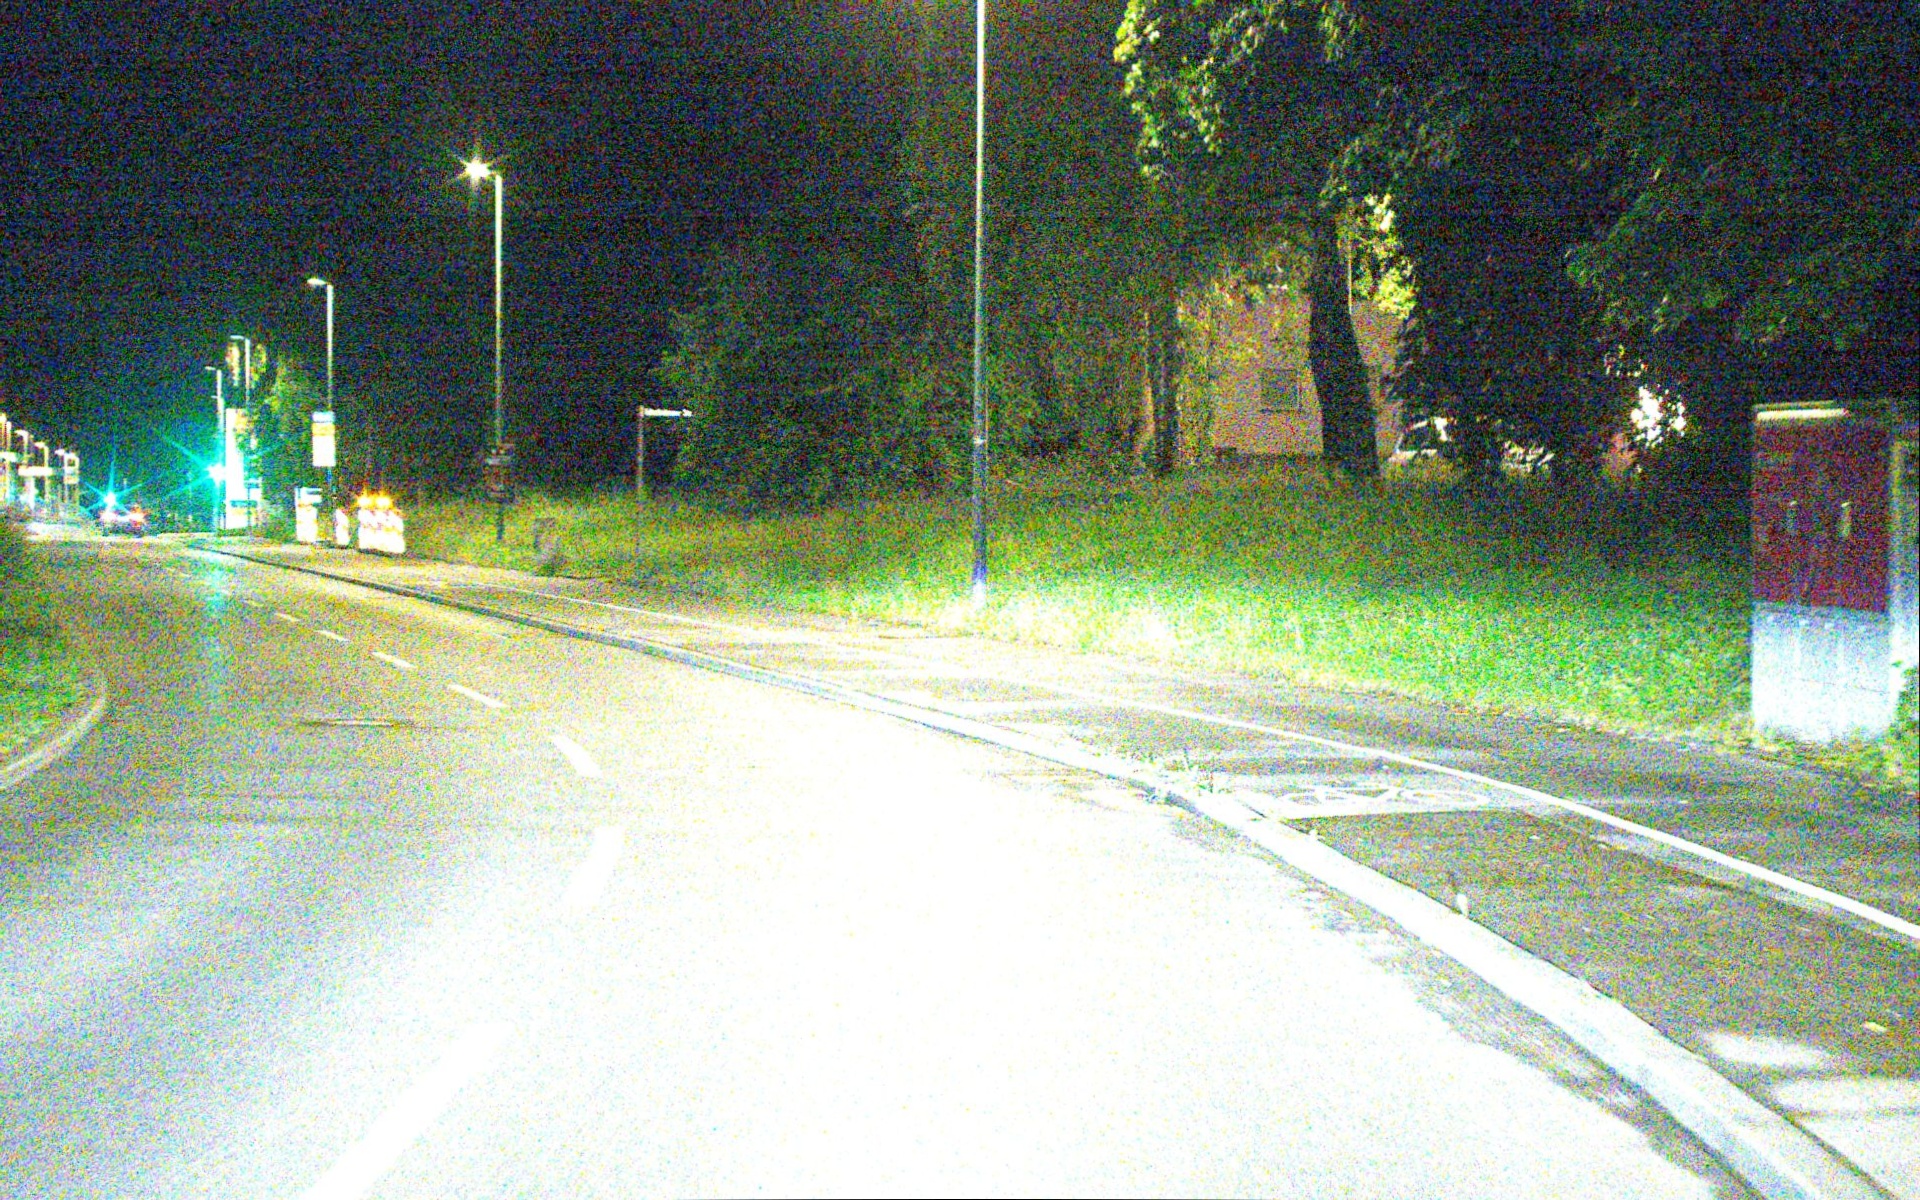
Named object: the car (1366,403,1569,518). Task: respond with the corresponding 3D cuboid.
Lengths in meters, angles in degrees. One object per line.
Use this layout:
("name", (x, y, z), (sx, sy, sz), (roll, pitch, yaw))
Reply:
("car", (8.526, -2.353, 58.065), (1.951, 1.831, 4.116), (-2, 3, -14))

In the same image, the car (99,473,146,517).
("car", (-39.228, -4.922, 161.032), (2.087, 2.006, 4.002), (0, 2, -15))
